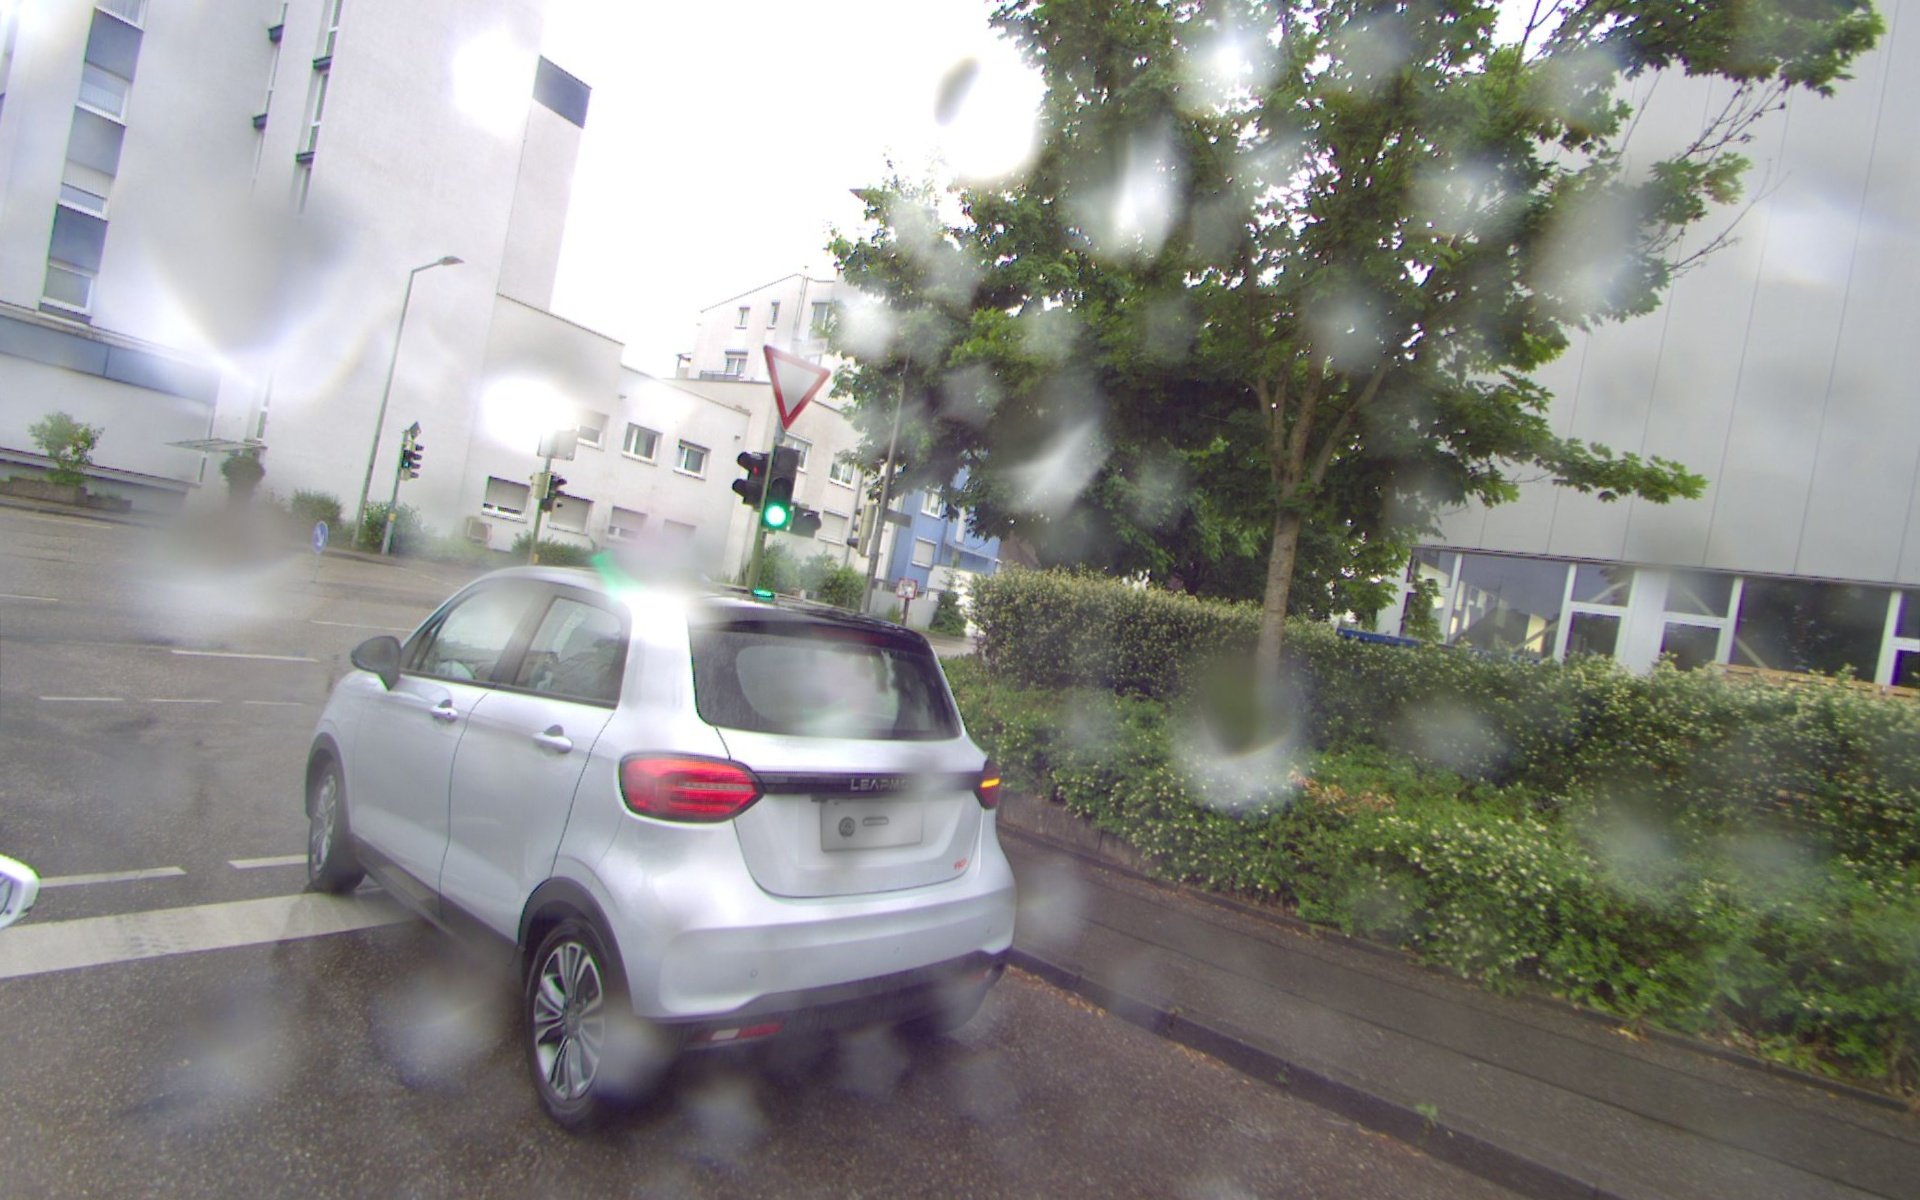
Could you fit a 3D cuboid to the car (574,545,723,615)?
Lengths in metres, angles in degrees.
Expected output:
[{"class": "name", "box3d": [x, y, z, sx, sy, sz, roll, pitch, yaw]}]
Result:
[{"class": "car", "box3d": [-9.874, -0.596, 32.094, 1.717, 1.504, 4.134, 11, 1, 40]}]

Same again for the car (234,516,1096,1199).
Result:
[{"class": "car", "box3d": [-1.571, 0.654, 4.351, 3.853, 1.573, 1.687, 8, 0, 43]}]
